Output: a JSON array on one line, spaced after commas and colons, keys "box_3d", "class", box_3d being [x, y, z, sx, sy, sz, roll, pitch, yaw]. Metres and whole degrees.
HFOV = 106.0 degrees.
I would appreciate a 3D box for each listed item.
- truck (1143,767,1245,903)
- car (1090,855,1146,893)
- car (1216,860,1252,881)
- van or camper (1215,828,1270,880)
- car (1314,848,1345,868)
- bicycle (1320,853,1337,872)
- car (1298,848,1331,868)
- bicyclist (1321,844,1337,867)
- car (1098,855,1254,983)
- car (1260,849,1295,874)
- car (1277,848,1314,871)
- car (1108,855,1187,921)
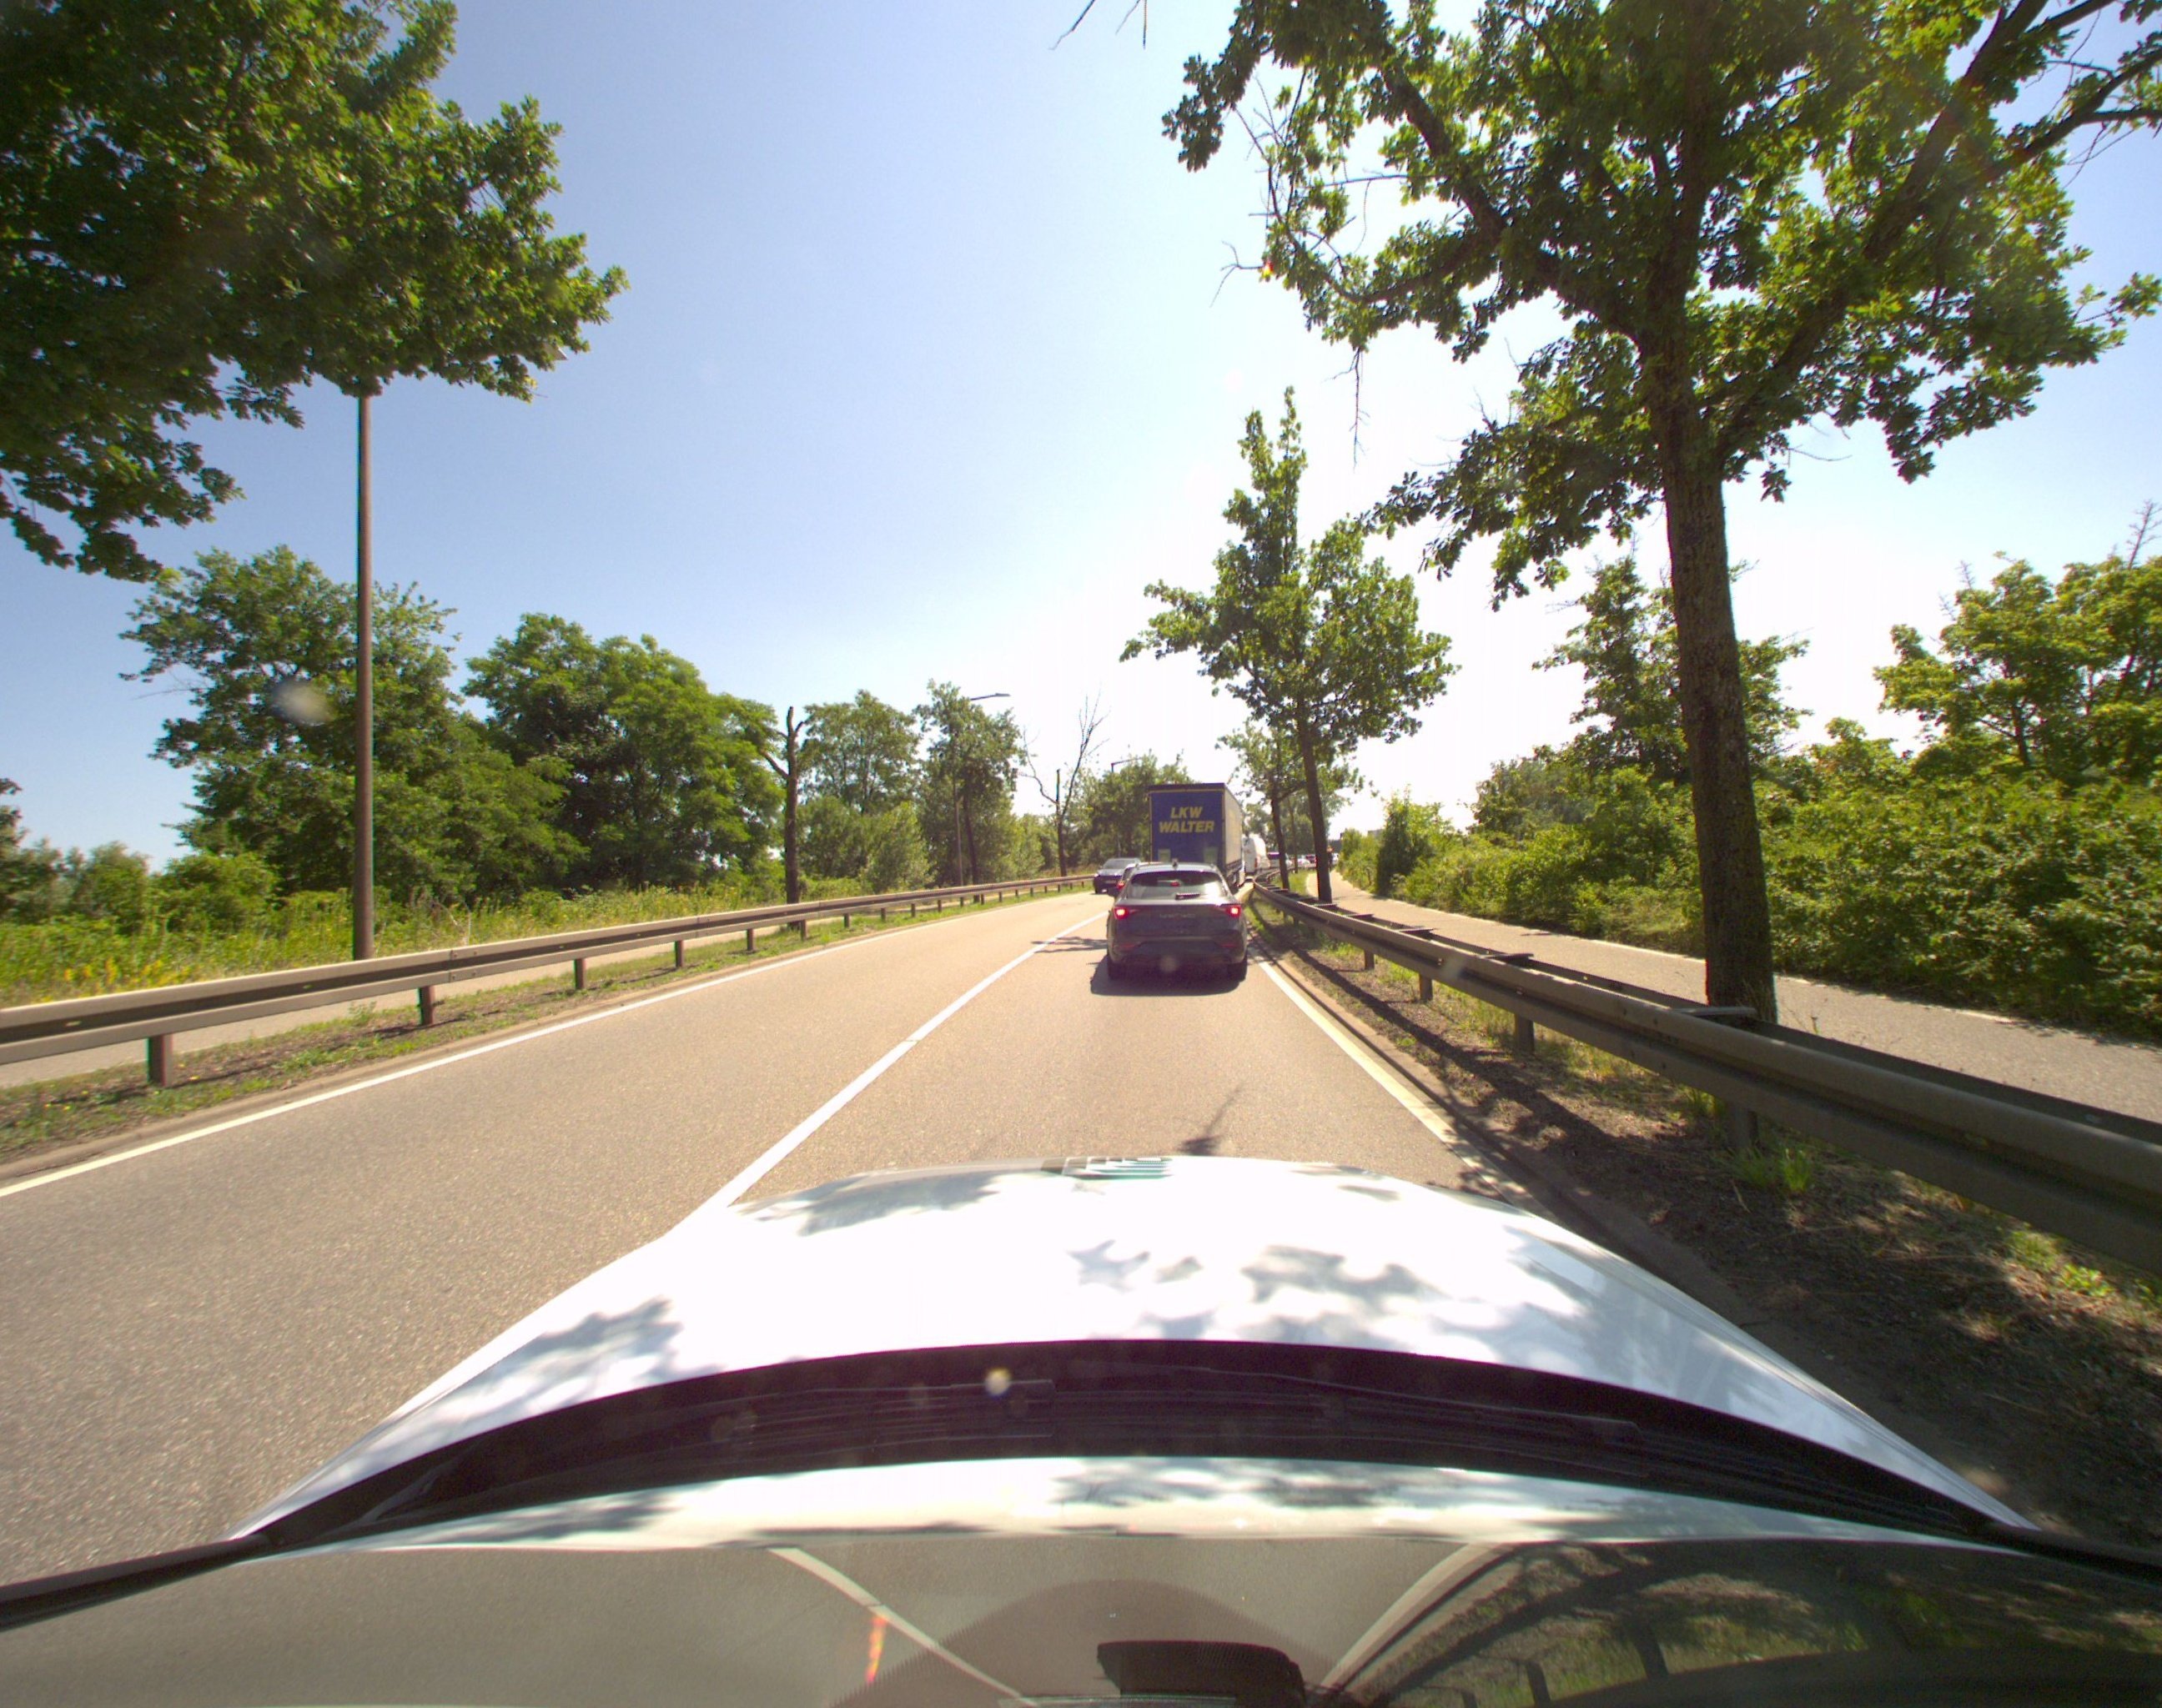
[{"box_3d": [5.383, -0.560, 35.205, 2.930, 4.449, 16.855, -1, -1, 13], "class": "truck"}, {"box_3d": [1.792, 0.882, 38.012, 1.856, 1.603, 4.408, -1, 0, 12], "class": "car"}, {"box_3d": [12.605, 1.303, 66.869, 1.852, 1.603, 4.418, -1, 0, 24], "class": "car"}, {"box_3d": [10.071, 0.031, 50.379, 2.446, 2.998, 6.115, -1, -1, 19], "class": "van or camper"}, {"box_3d": [23.945, 0.393, 78.248, 1.975, 1.768, 4.783, -1, -1, 27], "class": "car"}, {"box_3d": [16.584, 0.551, 54.447, 0.853, 1.237, 2.322, -1, -1, 22], "class": "bicycle"}, {"box_3d": [20.781, 0.383, 72.306, 1.975, 1.717, 4.897, -1, -1, 25], "class": "car"}, {"box_3d": [16.576, 0.083, 54.415, 0.852, 1.523, 0.986, -1, -1, 24], "class": "bicyclist"}, {"box_3d": [1.219, 0.754, 11.165, 1.736, 1.432, 3.884, -1, -1, 4], "class": "car"}, {"box_3d": [14.431, 0.528, 59.593, 1.977, 1.712, 4.643, -1, -1, 20], "class": "car"}, {"box_3d": [17.350, 0.448, 65.753, 1.975, 1.808, 4.873, -1, -1, 25], "class": "car"}, {"box_3d": [1.773, 0.810, 20.759, 1.799, 1.508, 4.008, -1, -1, 7], "class": "car"}]
